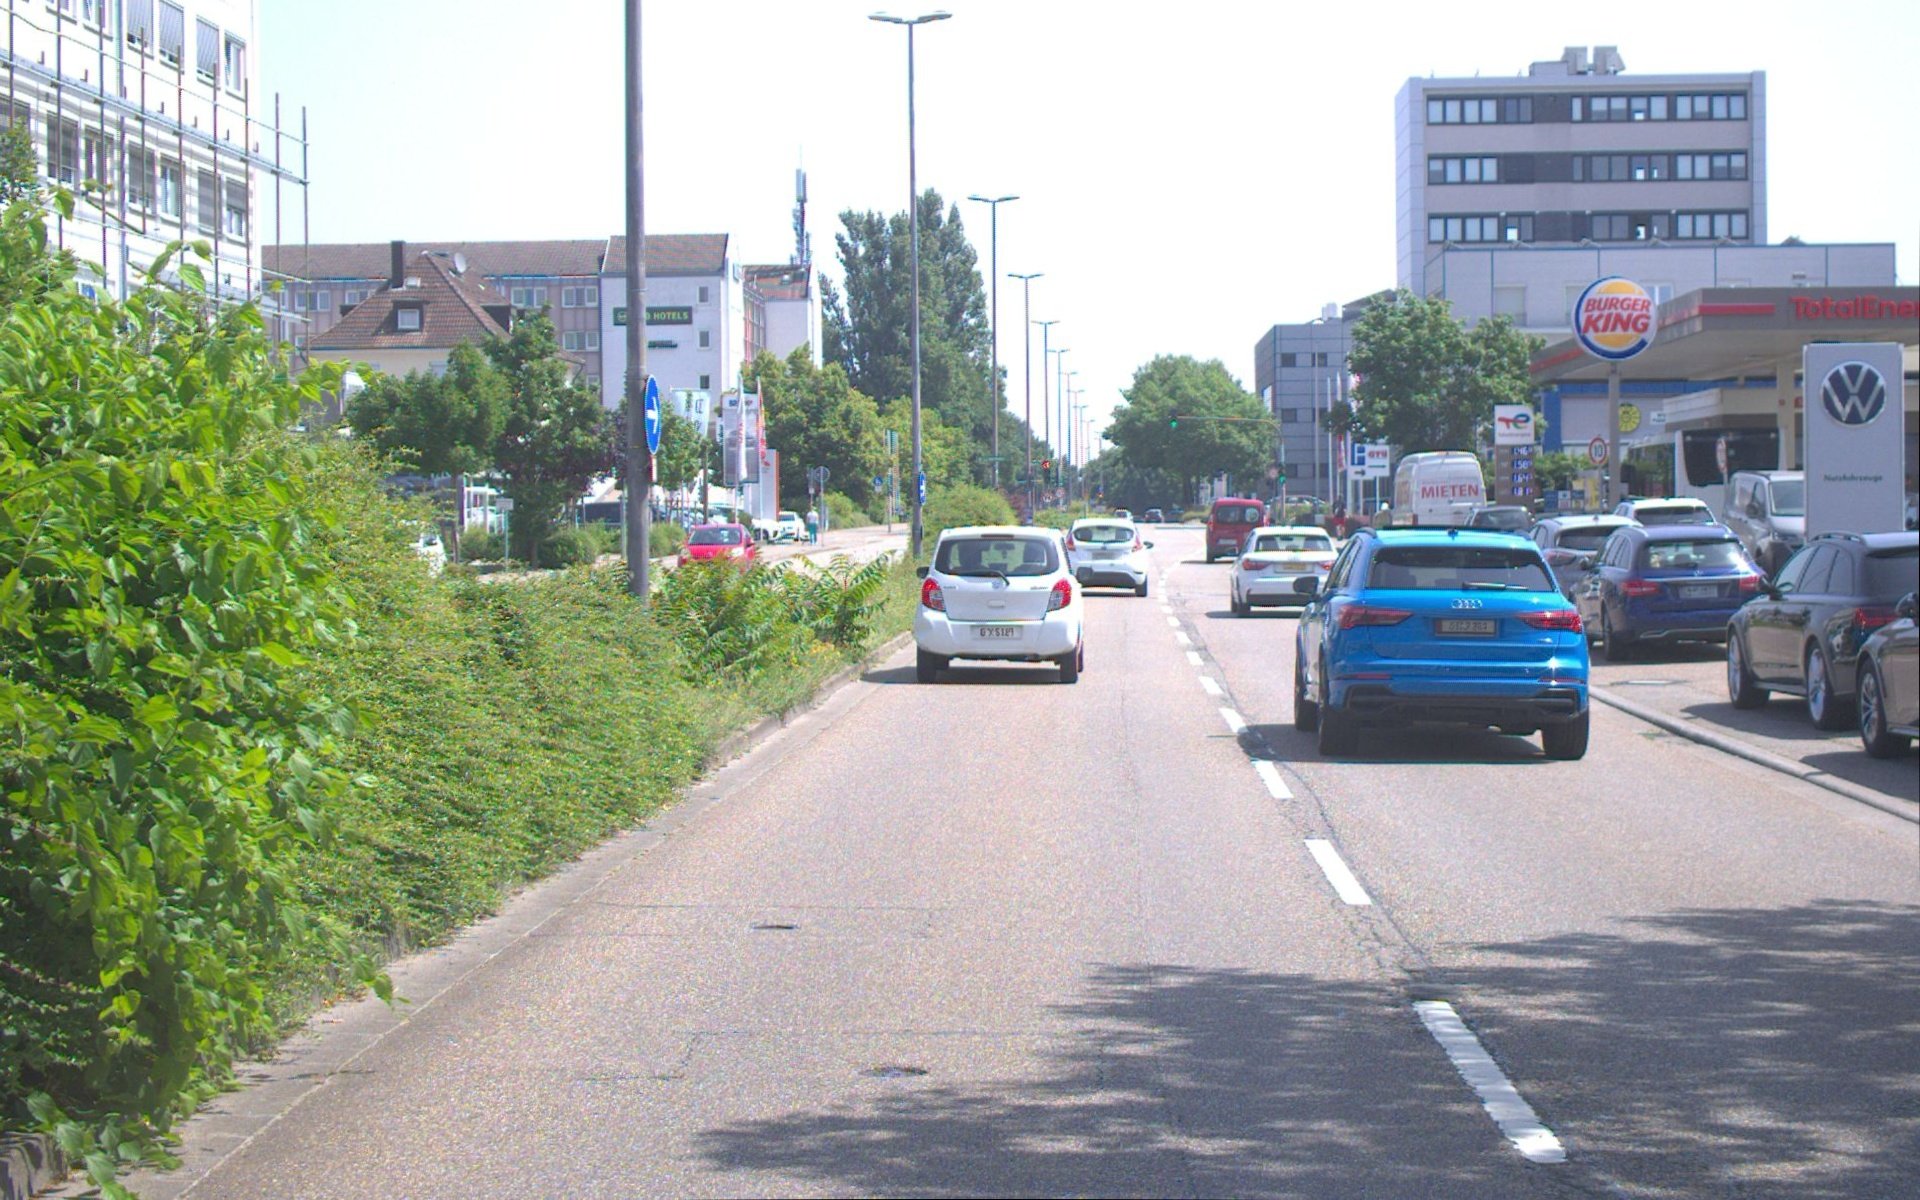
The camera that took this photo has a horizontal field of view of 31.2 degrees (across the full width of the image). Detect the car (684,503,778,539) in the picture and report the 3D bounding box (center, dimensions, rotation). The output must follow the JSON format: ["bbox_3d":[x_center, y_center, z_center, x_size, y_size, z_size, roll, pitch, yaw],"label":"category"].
[{"bbox_3d":[-10.360,-3.557,155.472,3.988,1.547,1.865,1,0,5],"label":"car"}]

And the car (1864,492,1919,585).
[{"bbox_3d":[16.537,-1.026,57.506,1.743,1.508,4.601,1,2,2],"label":"car"}]

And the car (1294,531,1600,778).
[{"bbox_3d":[3.430,0.313,24.931,1.913,1.591,4.395,1,1,5],"label":"car"}]

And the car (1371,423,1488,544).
[{"bbox_3d":[12.148,-3.019,89.400,2.133,2.829,7.309,-5,1,3],"label":"car"}]

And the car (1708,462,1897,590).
[{"bbox_3d":[13.976,-1.233,57.326,1.993,2.016,5.161,1,1,2],"label":"car"}]

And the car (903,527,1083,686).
[{"bbox_3d":[0.309,0.073,34.725,1.712,1.505,3.247,1,0,0],"label":"car"}]

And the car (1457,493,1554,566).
[{"bbox_3d":[12.007,-1.569,75.824,1.657,1.514,3.820,-2,1,3],"label":"car"}]

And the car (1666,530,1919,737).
[{"bbox_3d":[7.136,0.191,27.466,1.854,1.476,5.157,-1,1,-1],"label":"car"}]

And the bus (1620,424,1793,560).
[{"bbox_3d":[18.020,-2.705,83.724,2.805,3.068,12.283,0,3,6],"label":"bus"}]

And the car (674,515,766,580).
[{"bbox_3d":[-5.596,-1.225,80.429,1.631,1.419,3.450,-3,1,4],"label":"car"}]

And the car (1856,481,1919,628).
[{"bbox_3d":[14.131,-0.648,44.765,4.413,1.876,1.909,-1,1,2],"label":"car"}]

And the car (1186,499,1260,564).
[{"bbox_3d":[7.335,-1.901,96.283,1.795,1.723,3.973,1,0,1],"label":"car"}]

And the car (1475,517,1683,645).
[{"bbox_3d":[7.894,-0.289,44.178,1.732,1.547,4.181,0,2,-3],"label":"car"}]

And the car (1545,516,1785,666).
[{"bbox_3d":[7.876,-0.132,38.799,1.713,1.543,4.791,-1,1,0],"label":"car"}]

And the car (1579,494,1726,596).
[{"bbox_3d":[11.540,-0.957,57.515,1.667,1.590,4.613,-2,2,2],"label":"car"}]

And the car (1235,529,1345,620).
[{"bbox_3d":[5.212,-0.399,54.640,1.667,1.394,3.792,0,0,5],"label":"car"}]

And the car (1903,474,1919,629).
[{"bbox_3d":[13.943,-0.604,41.596,4.556,1.882,1.857,0,0,1],"label":"car"}]

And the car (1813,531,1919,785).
[{"bbox_3d":[6.895,0.330,21.480,1.961,1.524,5.161,-3,1,2],"label":"car"}]

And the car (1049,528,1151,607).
[{"bbox_3d":[2.649,-0.620,65.901,1.830,1.445,4.000,1,0,1],"label":"car"}]
